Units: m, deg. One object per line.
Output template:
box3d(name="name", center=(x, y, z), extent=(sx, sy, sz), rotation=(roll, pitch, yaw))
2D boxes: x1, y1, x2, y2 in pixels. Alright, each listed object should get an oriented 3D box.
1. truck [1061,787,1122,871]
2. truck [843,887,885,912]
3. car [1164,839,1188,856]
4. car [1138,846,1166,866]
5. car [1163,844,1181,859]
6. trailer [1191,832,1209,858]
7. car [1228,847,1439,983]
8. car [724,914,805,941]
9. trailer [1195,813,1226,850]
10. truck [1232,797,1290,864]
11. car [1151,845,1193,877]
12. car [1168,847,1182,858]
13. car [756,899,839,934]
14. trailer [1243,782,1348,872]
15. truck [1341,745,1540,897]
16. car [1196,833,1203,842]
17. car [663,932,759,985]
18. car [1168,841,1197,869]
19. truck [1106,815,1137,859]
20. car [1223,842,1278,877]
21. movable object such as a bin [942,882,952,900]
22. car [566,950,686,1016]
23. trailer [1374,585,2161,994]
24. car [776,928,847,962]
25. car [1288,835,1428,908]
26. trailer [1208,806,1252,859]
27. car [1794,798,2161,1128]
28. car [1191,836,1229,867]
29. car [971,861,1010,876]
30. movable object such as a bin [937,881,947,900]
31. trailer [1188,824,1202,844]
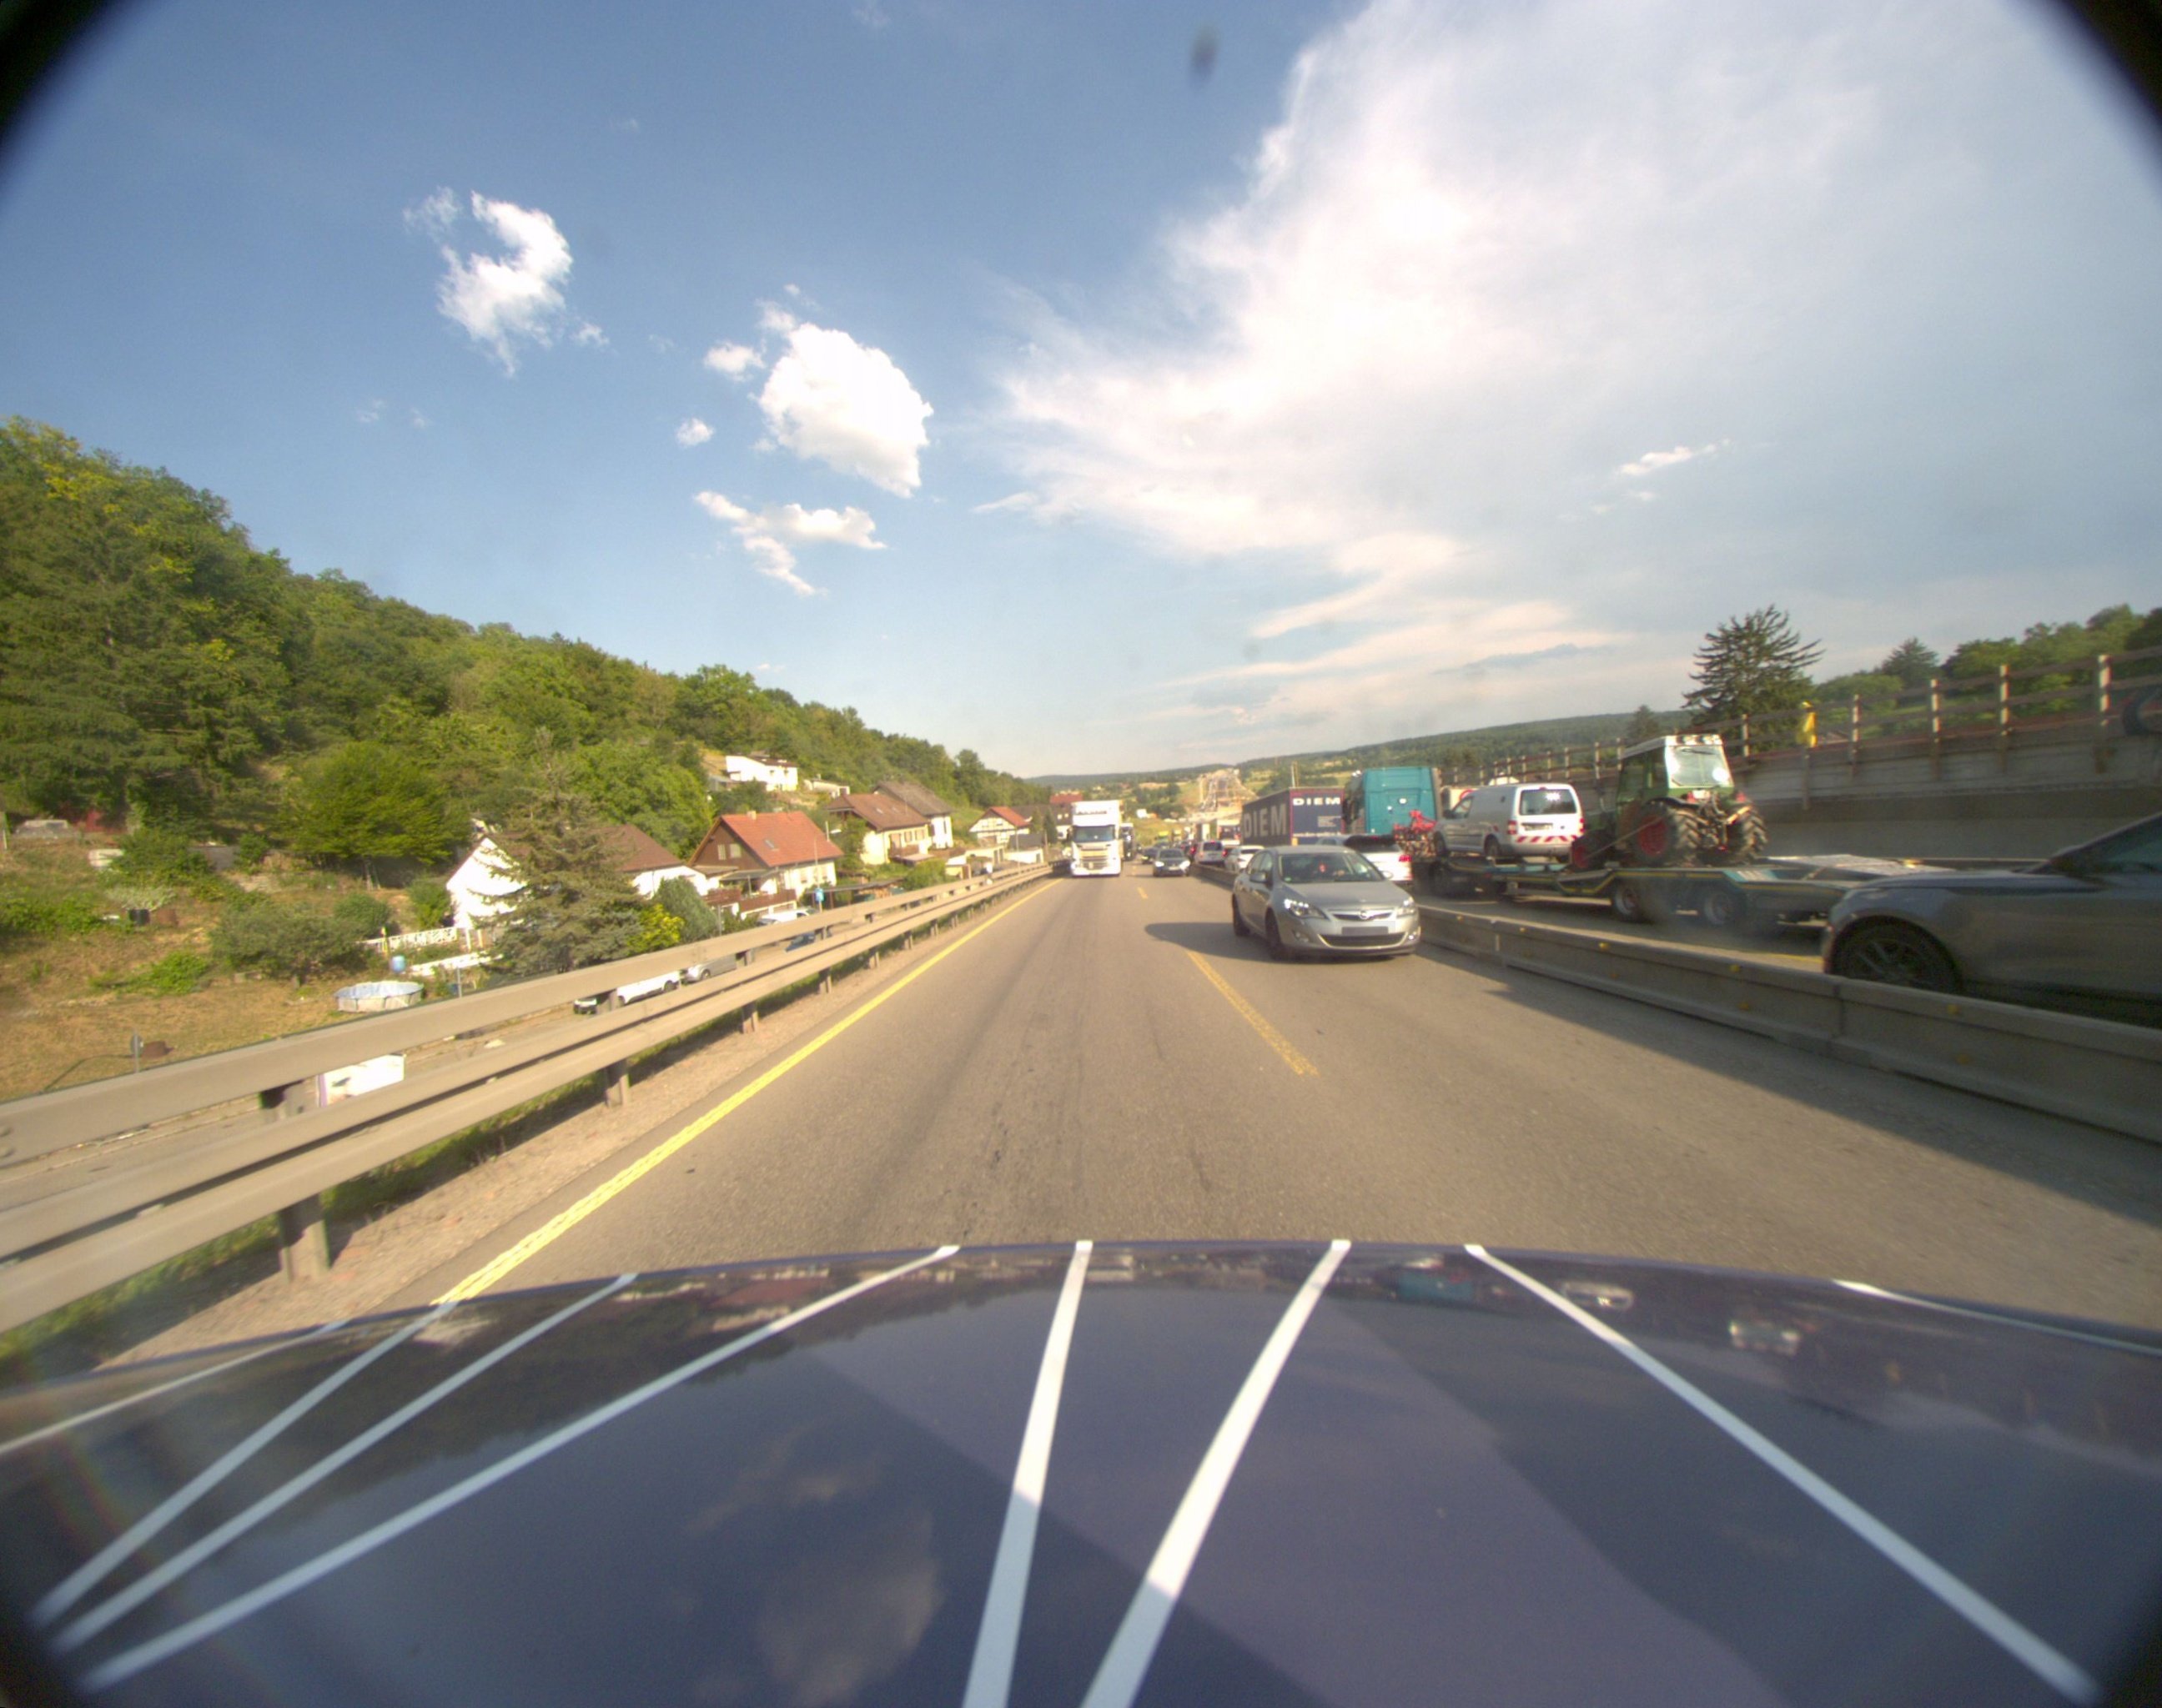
box3d(name="truck", center=(0.782, -1.419, 44.294), extent=(2.892, 4.060, 13.891), rotation=(-1, 2, 2))
box3d(name="truck", center=(-19.312, 4.006, 67.484), extent=(2.002, 1.729, 3.990), rotation=(-12, 6, -39))
box3d(name="car", center=(9.266, -0.664, 74.415), extent=(1.881, 1.596, 5.368), rotation=(0, 1, 3))
box3d(name="car", center=(6.229, 0.142, 66.834), extent=(1.999, 1.565, 3.998), rotation=(-1, 2, 0))
box3d(name="car", center=(10.675, -0.305, 89.103), extent=(1.866, 1.577, 4.745), rotation=(-2, 2, 5))
box3d(name="trailer", center=(20.875, -1.688, 133.724), extent=(2.460, 4.296, 13.778), rotation=(-1, 2, 7))
box3d(name="car", center=(3.276, 0.679, 10.717), extent=(1.809, 1.478, 4.119), rotation=(-2, 1, 4))
box3d(name="car", center=(-22.331, 5.190, 53.657), extent=(5.099, 1.548, 1.716), rotation=(-2, 3, 10))
box3d(name="trailer", center=(15.966, -2.763, 94.594), extent=(2.782, 4.180, 13.834), rotation=(-1, 2, 5))
box3d(name="truck", center=(11.573, -1.512, 49.260), extent=(2.755, 4.092, 5.030), rotation=(0, 1, 2))
box3d(name="car", center=(4.521, 0.296, 38.277), extent=(1.823, 1.433, 4.000), rotation=(-3, 1, 4))
box3d(name="car", center=(14.057, -0.254, 113.458), extent=(1.778, 1.449, 4.814), rotation=(-3, 2, 5))
box3d(name="car", center=(-21.339, 4.694, 57.293), extent=(5.476, 2.252, 2.000), rotation=(-3, 3, 11))
box3d(name="trailer", center=(11.256, -1.361, 41.329), extent=(2.721, 4.099, 12.492), rotation=(0, 1, 3))
box3d(name="truck", center=(10.271, -0.890, 22.701), extent=(2.755, 3.784, 7.111), rotation=(0, 1, 2))
box3d(name="car", center=(36.927, -5.124, 236.645), extent=(2.000, 2.601, 5.616), rotation=(-1, 1, 8))
box3d(name="car", center=(-20.042, 5.617, 41.456), extent=(1.998, 1.907, 4.865), rotation=(-1, 4, 14))
box3d(name="car", center=(8.000, 0.037, 60.213), extent=(1.837, 1.952, 4.898), rotation=(-2, 2, 3))
box3d(name="truck", center=(4.596, -1.801, 84.763), extent=(2.787, 4.505, 7.192), rotation=(-3, 0, 6))
box3d(name="car", center=(7.948, 0.219, 36.084), extent=(1.807, 1.513, 4.816), rotation=(0, 1, 3))
box3d(name="movable object such as a bin", center=(-13.679, 3.790, 77.713), extent=(0.490, 1.760, 0.414), rotation=(-11, 1, 16))
box3d(name="car", center=(-21.362, 6.004, 36.003), extent=(1.865, 1.975, 5.053), rotation=(-1, 3, 11))
box3d(name="trailer", center=(10.047, -0.744, 15.090), extent=(2.755, 3.794, 16.045), rotation=(0, 1, 2))
box3d(name="car", center=(-16.194, 5.451, 45.782), extent=(1.769, 1.588, 3.623), rotation=(-6, -1, 30))
box3d(name="car", center=(7.118, 0.346, 20.125), extent=(1.964, 1.635, 4.847), rotation=(-1, 2, 1))
box3d(name="trailer", center=(13.363, -1.961, 68.774), extent=(2.918, 4.440, 7.152), rotation=(-2, 1, 4))
box3d(name="car", center=(6.495, 0.547, 3.562), extent=(1.932, 1.692, 4.690), rotation=(-1, 2, 1))
box3d(name="car", center=(8.625, -0.223, 51.010), extent=(1.828, 1.922, 5.129), rotation=(1, 2, 2))
box3d(name="car", center=(-11.751, 1.852, 98.699), extent=(4.500, 1.518, 2.000), rotation=(4, 5, 11))
box3d(name="movable object such as a bin", center=(-14.022, 3.688, 76.466), extent=(0.536, 1.760, 0.409), rotation=(-11, 1, 16))
box3d(name="trailer", center=(24.181, -4.304, 161.790), extent=(2.821, 4.082, 8.289), rotation=(-1, 2, 8))
